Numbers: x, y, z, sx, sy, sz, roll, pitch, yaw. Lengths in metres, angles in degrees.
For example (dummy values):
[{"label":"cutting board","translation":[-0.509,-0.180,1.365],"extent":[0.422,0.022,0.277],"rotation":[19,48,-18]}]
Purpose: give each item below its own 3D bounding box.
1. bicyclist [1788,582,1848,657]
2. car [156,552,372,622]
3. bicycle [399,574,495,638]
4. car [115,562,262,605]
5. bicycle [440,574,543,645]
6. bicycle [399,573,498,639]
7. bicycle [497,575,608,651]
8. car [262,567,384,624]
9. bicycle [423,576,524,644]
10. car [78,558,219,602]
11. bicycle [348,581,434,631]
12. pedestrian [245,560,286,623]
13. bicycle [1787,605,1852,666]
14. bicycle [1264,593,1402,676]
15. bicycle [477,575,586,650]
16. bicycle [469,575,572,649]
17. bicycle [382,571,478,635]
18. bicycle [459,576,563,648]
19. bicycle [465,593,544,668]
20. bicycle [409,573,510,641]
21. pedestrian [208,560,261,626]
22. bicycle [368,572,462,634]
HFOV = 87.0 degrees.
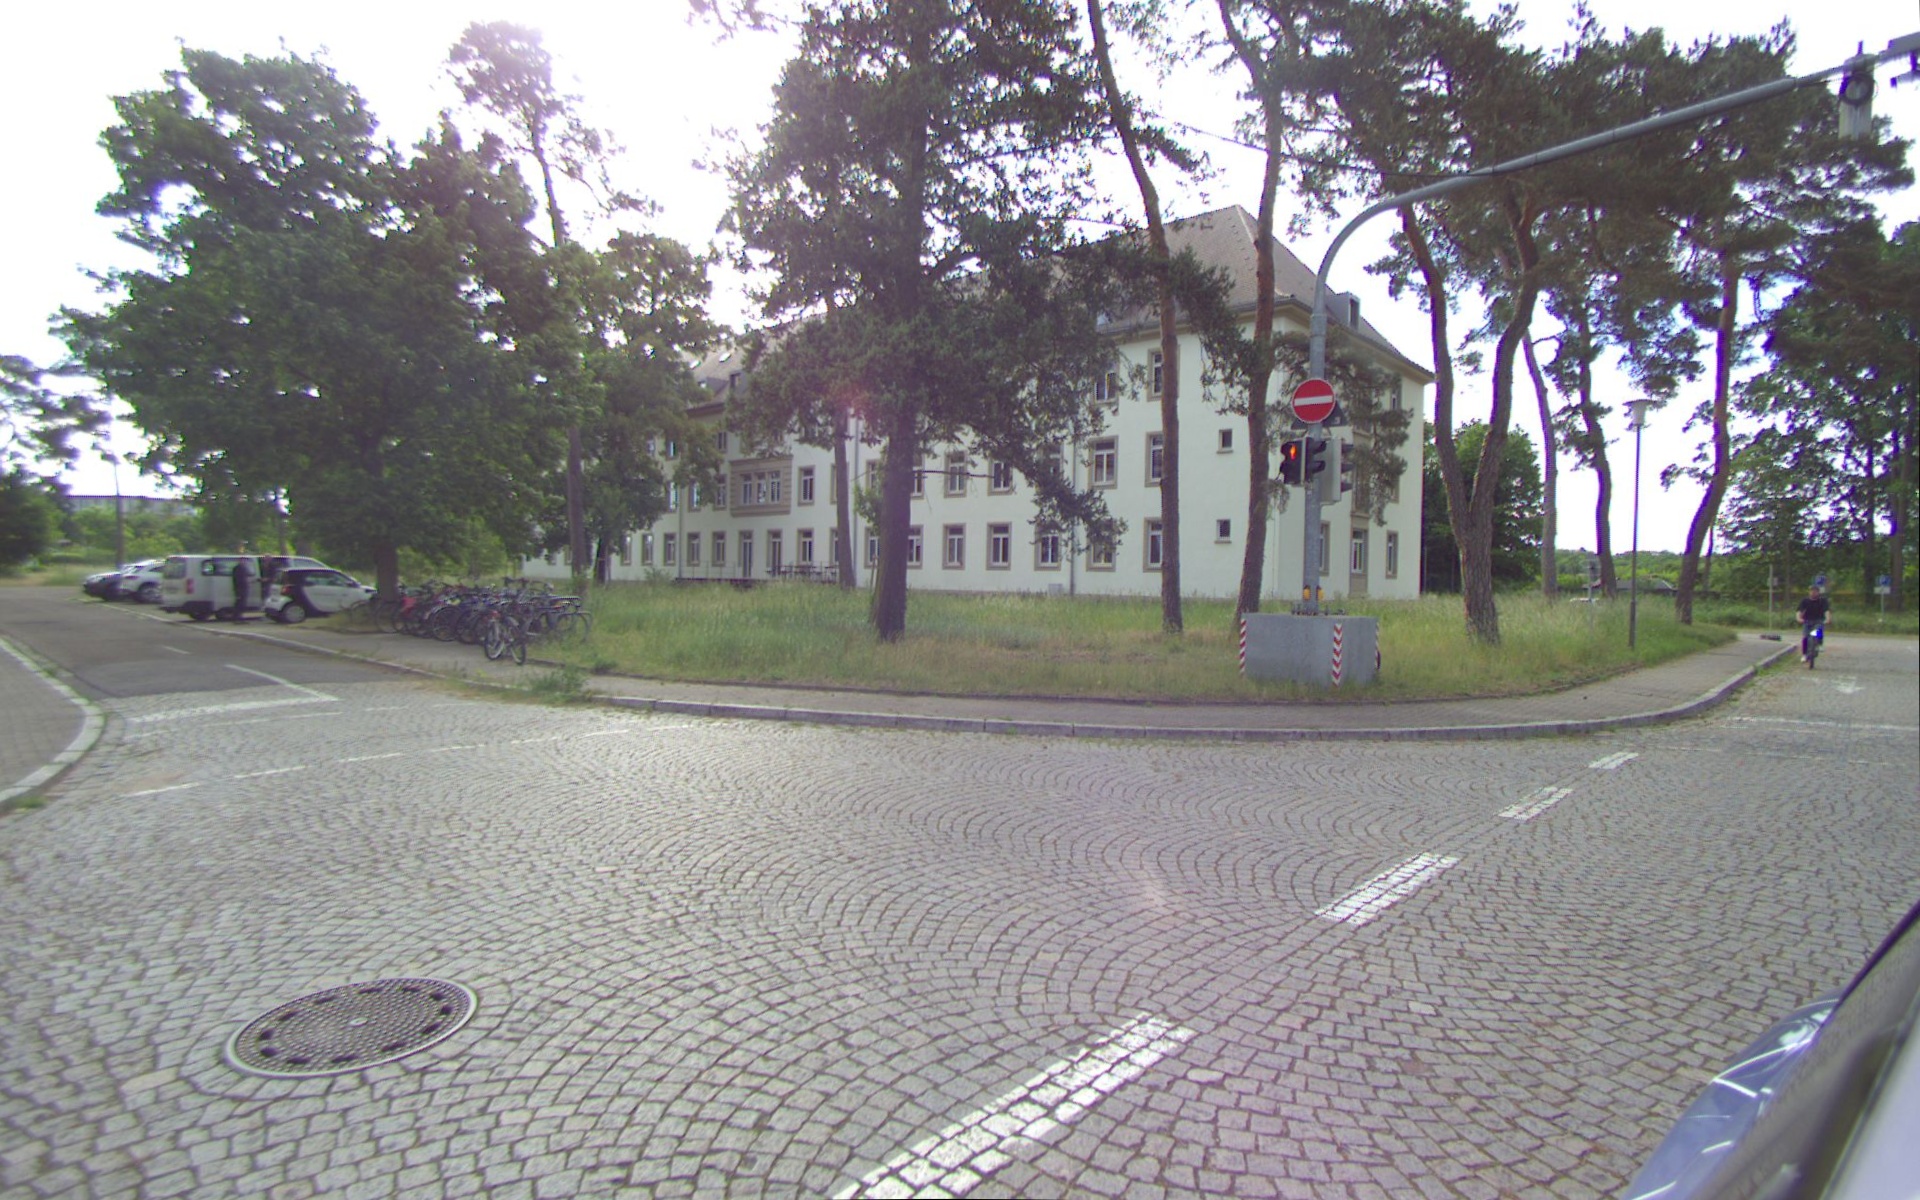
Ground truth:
[{"label":"bicyclist","translation":[19.577,0.419,23.088],"extent":[0.962,1.655,0.903],"rotation":[1,1,45]},{"label":"car","translation":[-20.683,-0.400,30.255],"extent":[1.993,1.908,5.040],"rotation":[2,2,42]},{"label":"bicycle","translation":[-11.227,0.120,22.212],"extent":[0.569,1.348,1.813],"rotation":[1,1,37]},{"label":"car","translation":[-30.759,-0.651,40.447],"extent":[1.770,1.612,4.403],"rotation":[2,1,39]},{"label":"bicycle","translation":[-9.330,0.168,20.217],"extent":[0.569,1.348,1.813],"rotation":[1,1,37]},{"label":"bicycle","translation":[-10.913,0.122,21.649],"extent":[0.569,1.348,1.813],"rotation":[1,1,37]},{"label":"bicycle","translation":[-7.534,0.231,18.754],"extent":[1.805,1.348,0.572],"rotation":[0,1,-40]},{"label":"car","translation":[-18.039,-0.147,28.709],"extent":[1.471,1.527,2.652],"rotation":[2,1,42]},{"label":"bicycle","translation":[-9.970,0.187,20.786],"extent":[0.569,1.348,1.813],"rotation":[1,1,37]},{"label":"car","translation":[-33.623,-0.835,41.994],"extent":[1.993,1.739,4.321],"rotation":[2,2,42]},{"label":"bicycle","translation":[-14.283,0.129,25.439],"extent":[0.569,1.201,1.814],"rotation":[1,1,36]},{"label":"pedestrian","translation":[-19.864,-0.252,28.948],"extent":[0.865,1.759,0.798],"rotation":[0,1,-43]},{"label":"bicycle","translation":[19.642,0.781,23.111],"extent":[0.961,1.292,2.129],"rotation":[2,1,44]},{"label":"bicycle","translation":[5.461,0.475,14.901],"extent":[1.830,1.098,0.564],"rotation":[2,3,41]},{"label":"bicycle","translation":[-8.067,0.216,19.095],"extent":[1.805,1.348,0.572],"rotation":[0,1,-40]},{"label":"bicycle","translation":[-8.422,0.215,19.442],"extent":[0.479,1.348,1.813],"rotation":[1,1,37]},{"label":"bicycle","translation":[-11.758,0.056,22.506],"extent":[0.569,1.348,1.813],"rotation":[1,1,37]},{"label":"bicycle","translation":[-8.731,0.215,19.744],"extent":[0.569,1.348,1.813],"rotation":[1,1,37]},{"label":"bicycle","translation":[-7.388,0.459,16.373],"extent":[0.563,1.098,1.833],"rotation":[-2,3,-44]},{"label":"bicycle","translation":[-10.419,0.123,21.121],"extent":[0.569,1.348,1.813],"rotation":[1,1,37]},{"label":"pedestrian","translation":[-19.715,-0.201,27.523],"extent":[0.866,1.759,0.823],"rotation":[1,1,-8]},{"label":"bicycle","translation":[-12.323,0.062,22.937],"extent":[0.569,1.348,1.813],"rotation":[1,1,37]}]
